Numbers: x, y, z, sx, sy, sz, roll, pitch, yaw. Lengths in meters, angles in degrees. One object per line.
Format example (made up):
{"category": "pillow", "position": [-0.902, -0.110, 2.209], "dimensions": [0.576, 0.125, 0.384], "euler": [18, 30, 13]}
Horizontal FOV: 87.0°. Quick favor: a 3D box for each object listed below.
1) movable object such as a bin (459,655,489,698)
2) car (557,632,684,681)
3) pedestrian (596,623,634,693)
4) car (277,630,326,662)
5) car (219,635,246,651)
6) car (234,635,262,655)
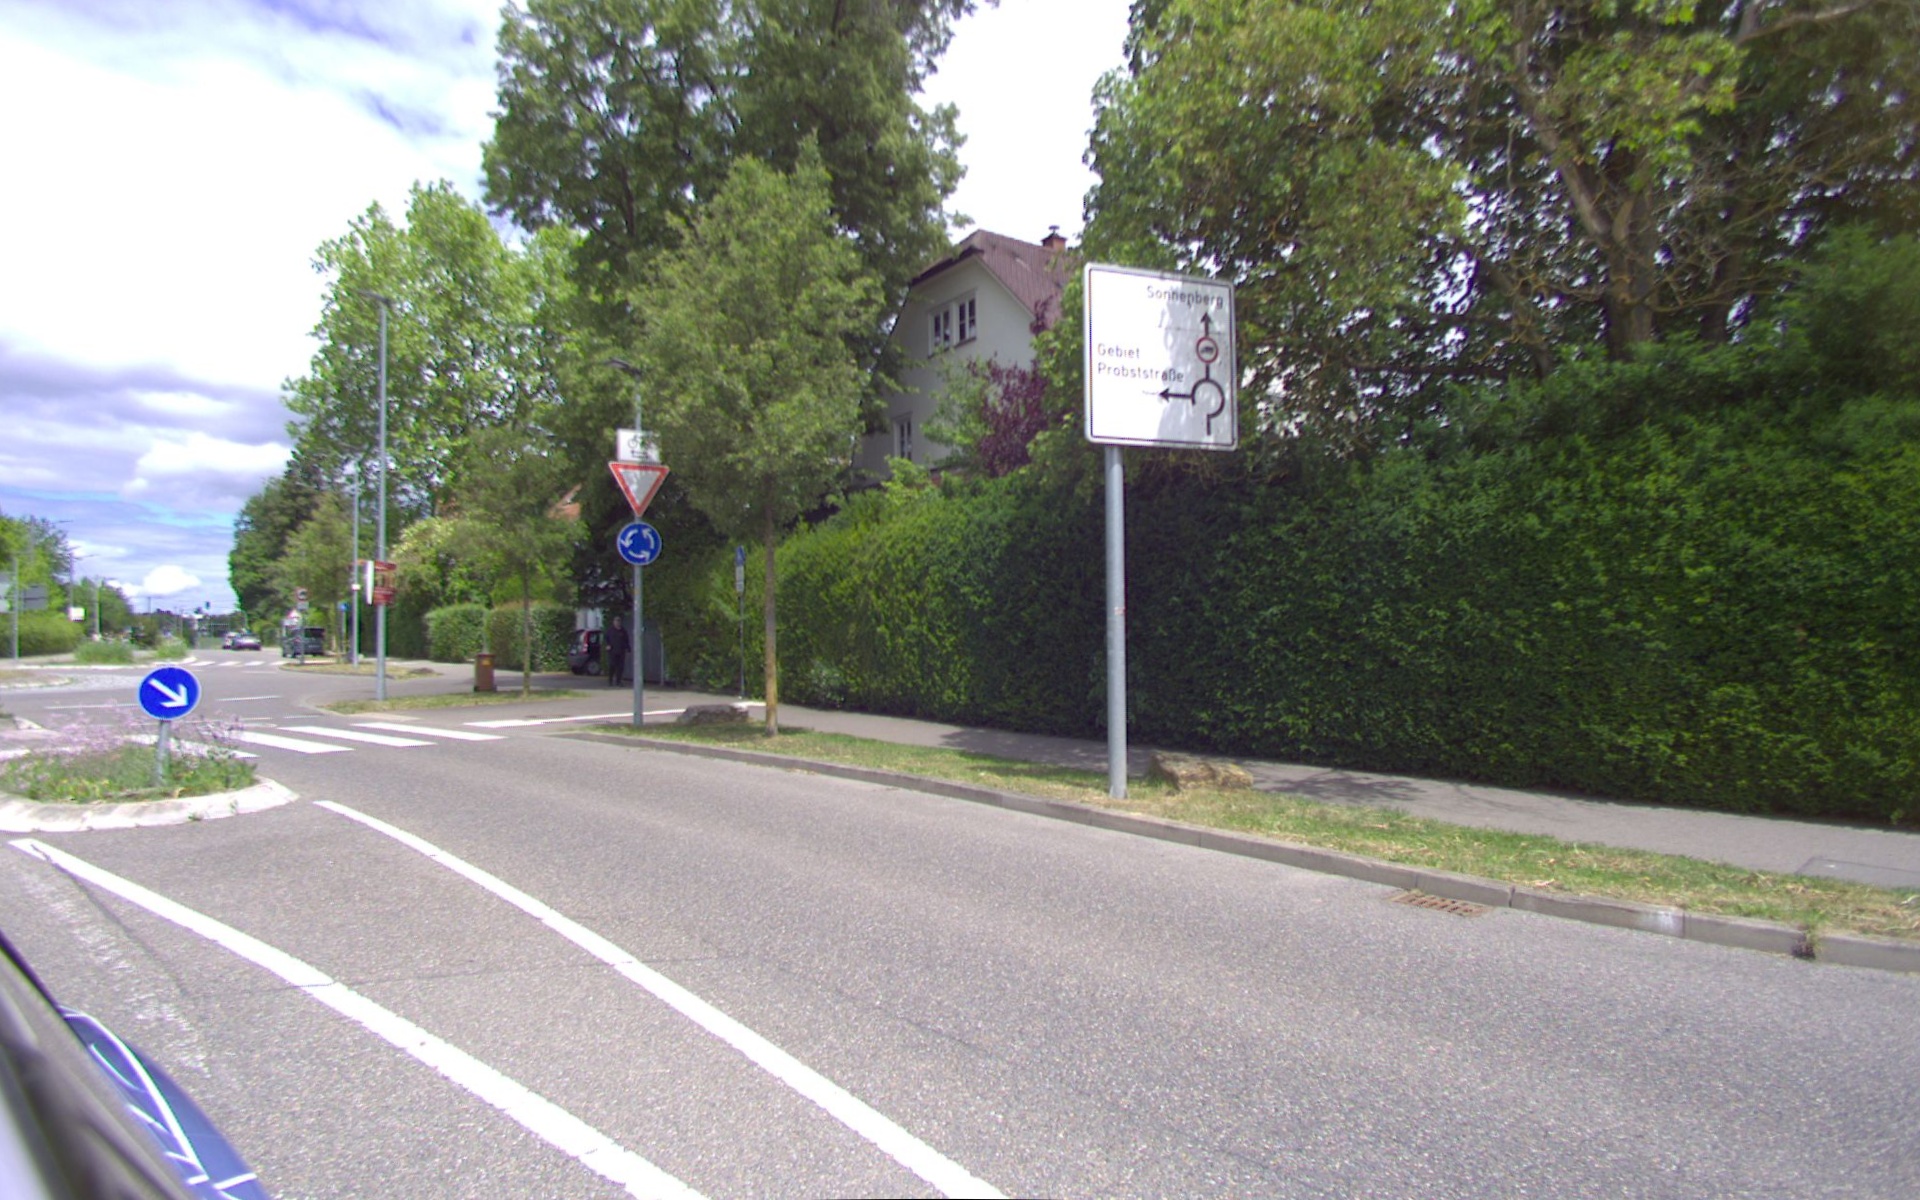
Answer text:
{"category": "movable object such as a bin", "position": [-11.117, 1.747, 23.170], "dimensions": [0.409, 0.942, 0.438], "euler": [-1, -3, 24]}
{"category": "car", "position": [-11.013, 1.843, 32.890], "dimensions": [3.520, 1.408, 1.669], "euler": [5, -4, -37]}
{"category": "pedestrian", "position": [-8.673, 1.441, 25.466], "dimensions": [0.734, 1.704, 0.696], "euler": [0, -1, -36]}
{"category": "car", "position": [-36.609, 2.526, 56.233], "dimensions": [1.656, 1.674, 4.005], "euler": [2, -2, -42]}
{"category": "car", "position": [-80.141, 4.767, 111.449], "dimensions": [1.969, 1.719, 4.004], "euler": [3, -3, -42]}
{"category": "car", "position": [-61.075, 3.807, 86.794], "dimensions": [1.833, 1.589, 4.008], "euler": [0, -1, -37]}
